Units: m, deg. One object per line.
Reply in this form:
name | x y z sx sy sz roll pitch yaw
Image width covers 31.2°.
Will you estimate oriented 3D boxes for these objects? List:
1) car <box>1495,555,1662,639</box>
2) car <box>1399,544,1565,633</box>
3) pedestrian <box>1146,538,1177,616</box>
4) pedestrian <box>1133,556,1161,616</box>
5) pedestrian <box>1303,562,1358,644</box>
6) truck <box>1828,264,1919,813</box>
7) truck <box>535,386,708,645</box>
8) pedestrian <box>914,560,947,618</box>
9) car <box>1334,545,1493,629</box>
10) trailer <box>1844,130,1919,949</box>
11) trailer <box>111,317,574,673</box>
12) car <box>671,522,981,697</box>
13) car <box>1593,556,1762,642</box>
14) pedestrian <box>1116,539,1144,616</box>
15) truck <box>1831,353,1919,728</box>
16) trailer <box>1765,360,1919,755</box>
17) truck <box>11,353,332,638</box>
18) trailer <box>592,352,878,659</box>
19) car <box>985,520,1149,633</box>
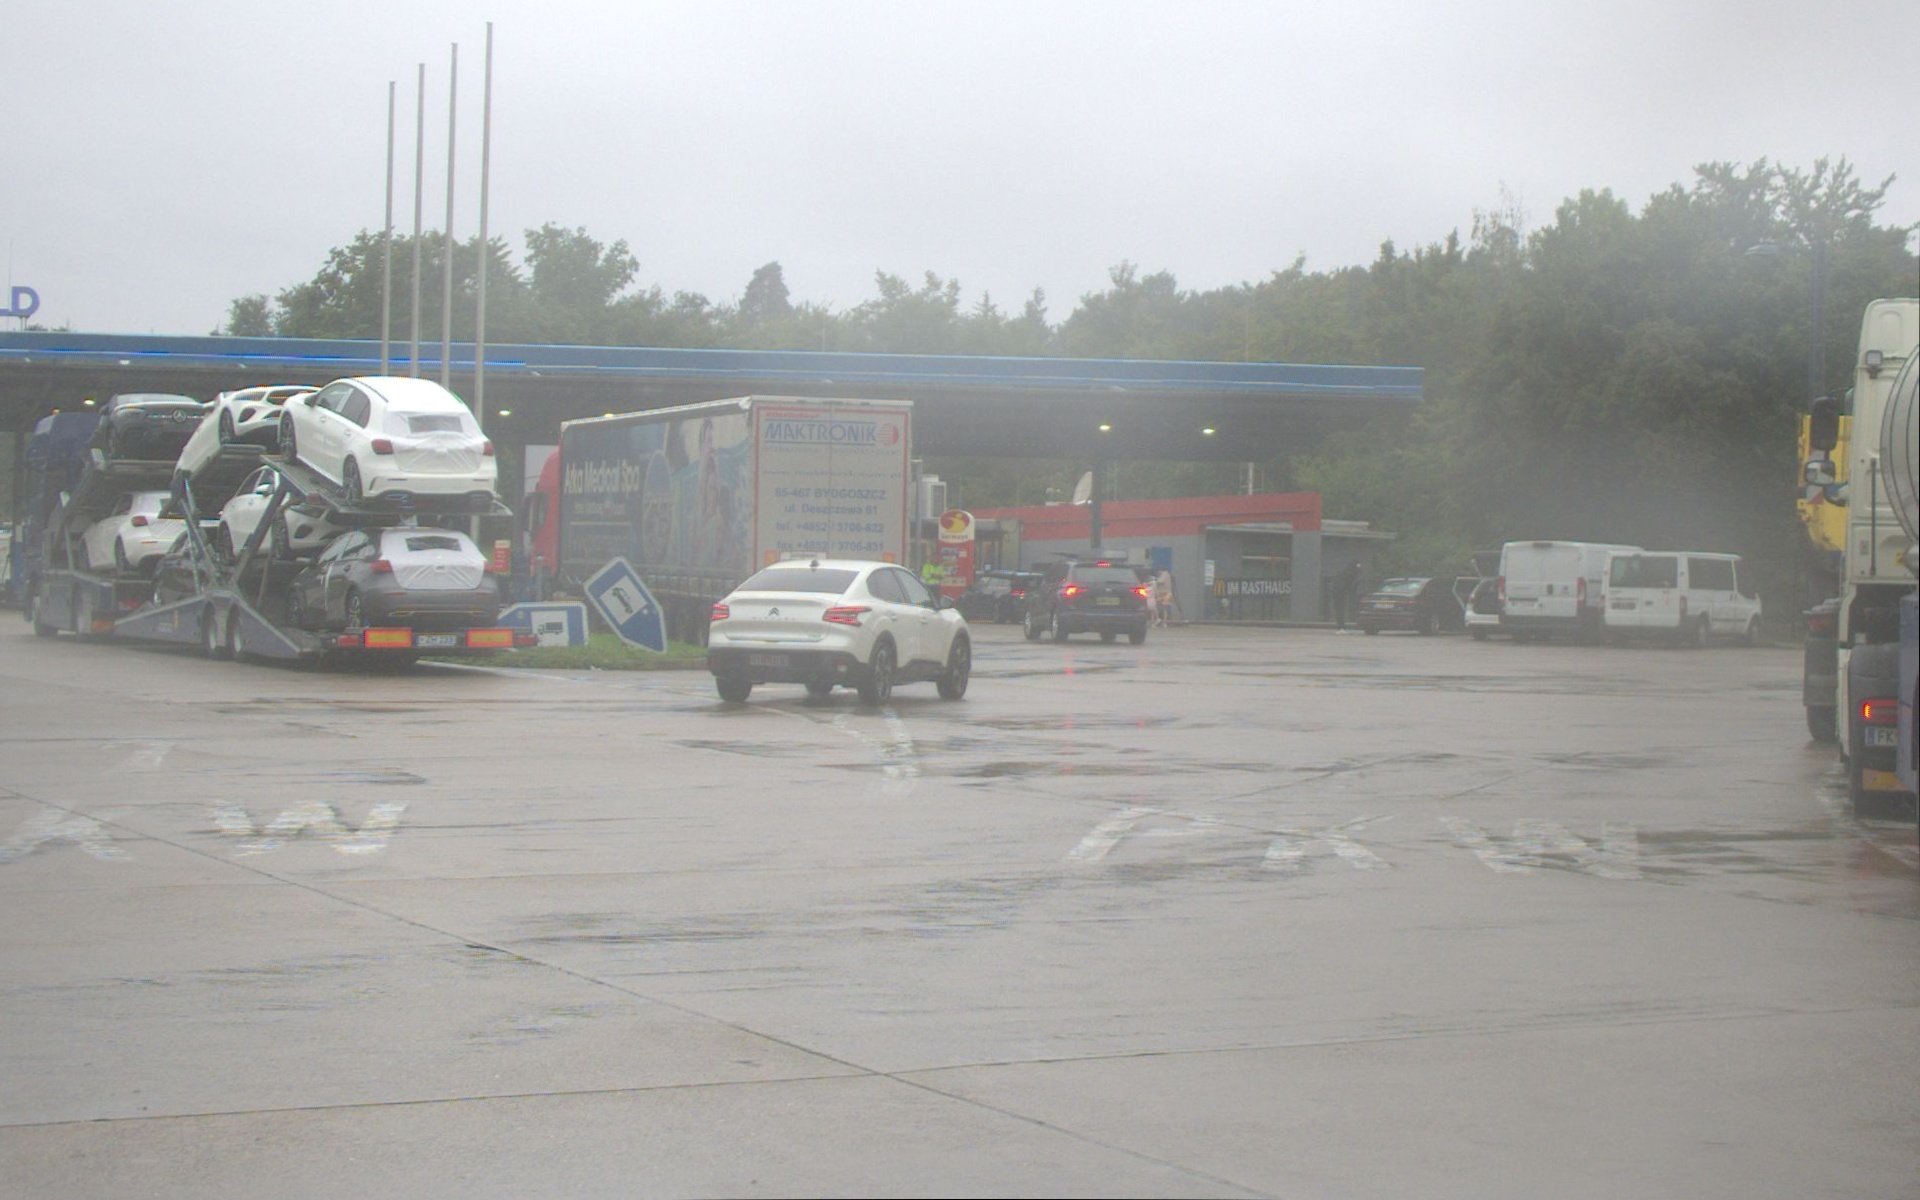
car | 13.385 -0.069 74.247 2.117 1.722 3.992 1 1 34
car | 11.845 -0.263 77.827 2.117 1.930 4.184 1 1 34
pedestrian | 5.326 -0.613 91.013 0.669 2.007 0.742 3 -2 7
pedestrian | 4.797 -0.354 88.161 0.608 1.534 0.595 1 -1 -3
pedestrian | 8.854 0.061 82.098 0.955 1.913 1.087 2 1 26
truck | 7.265 -0.394 24.056 2.147 3.501 4.643 1 1 13
truck | -6.266 -1.507 63.118 1.987 4.534 4.796 2 0 -19
pedestrian | -0.809 -0.295 93.802 0.719 1.516 0.742 3 -2 7
car | 10.849 -0.321 82.033 2.117 1.930 4.184 1 1 34
trailer | 5.809 -0.325 17.525 2.132 3.429 10.247 1 1 13
trailer | -8.718 -1.381 46.850 3.215 4.175 11.532 2 1 -25
car | -1.353 0.122 36.556 1.995 1.673 3.996 3 0 17
car | 15.048 -0.024 71.974 2.117 1.722 3.992 1 1 34
pedestrian | 4.560 -0.602 92.206 0.586 2.007 0.637 3 -2 -2
truck | 10.695 -0.615 36.845 2.183 3.815 4.137 1 1 20
trailer | 9.316 -0.389 33.003 2.185 3.381 7.556 1 1 20
truck | -12.966 -1.660 55.895 3.233 4.174 8.445 2 1 -25
trailer | -3.858 -1.450 56.217 1.993 4.544 9.812 2 0 -19
car | 2.096 -0.431 68.520 1.993 2.007 4.001 4 -2 -17
